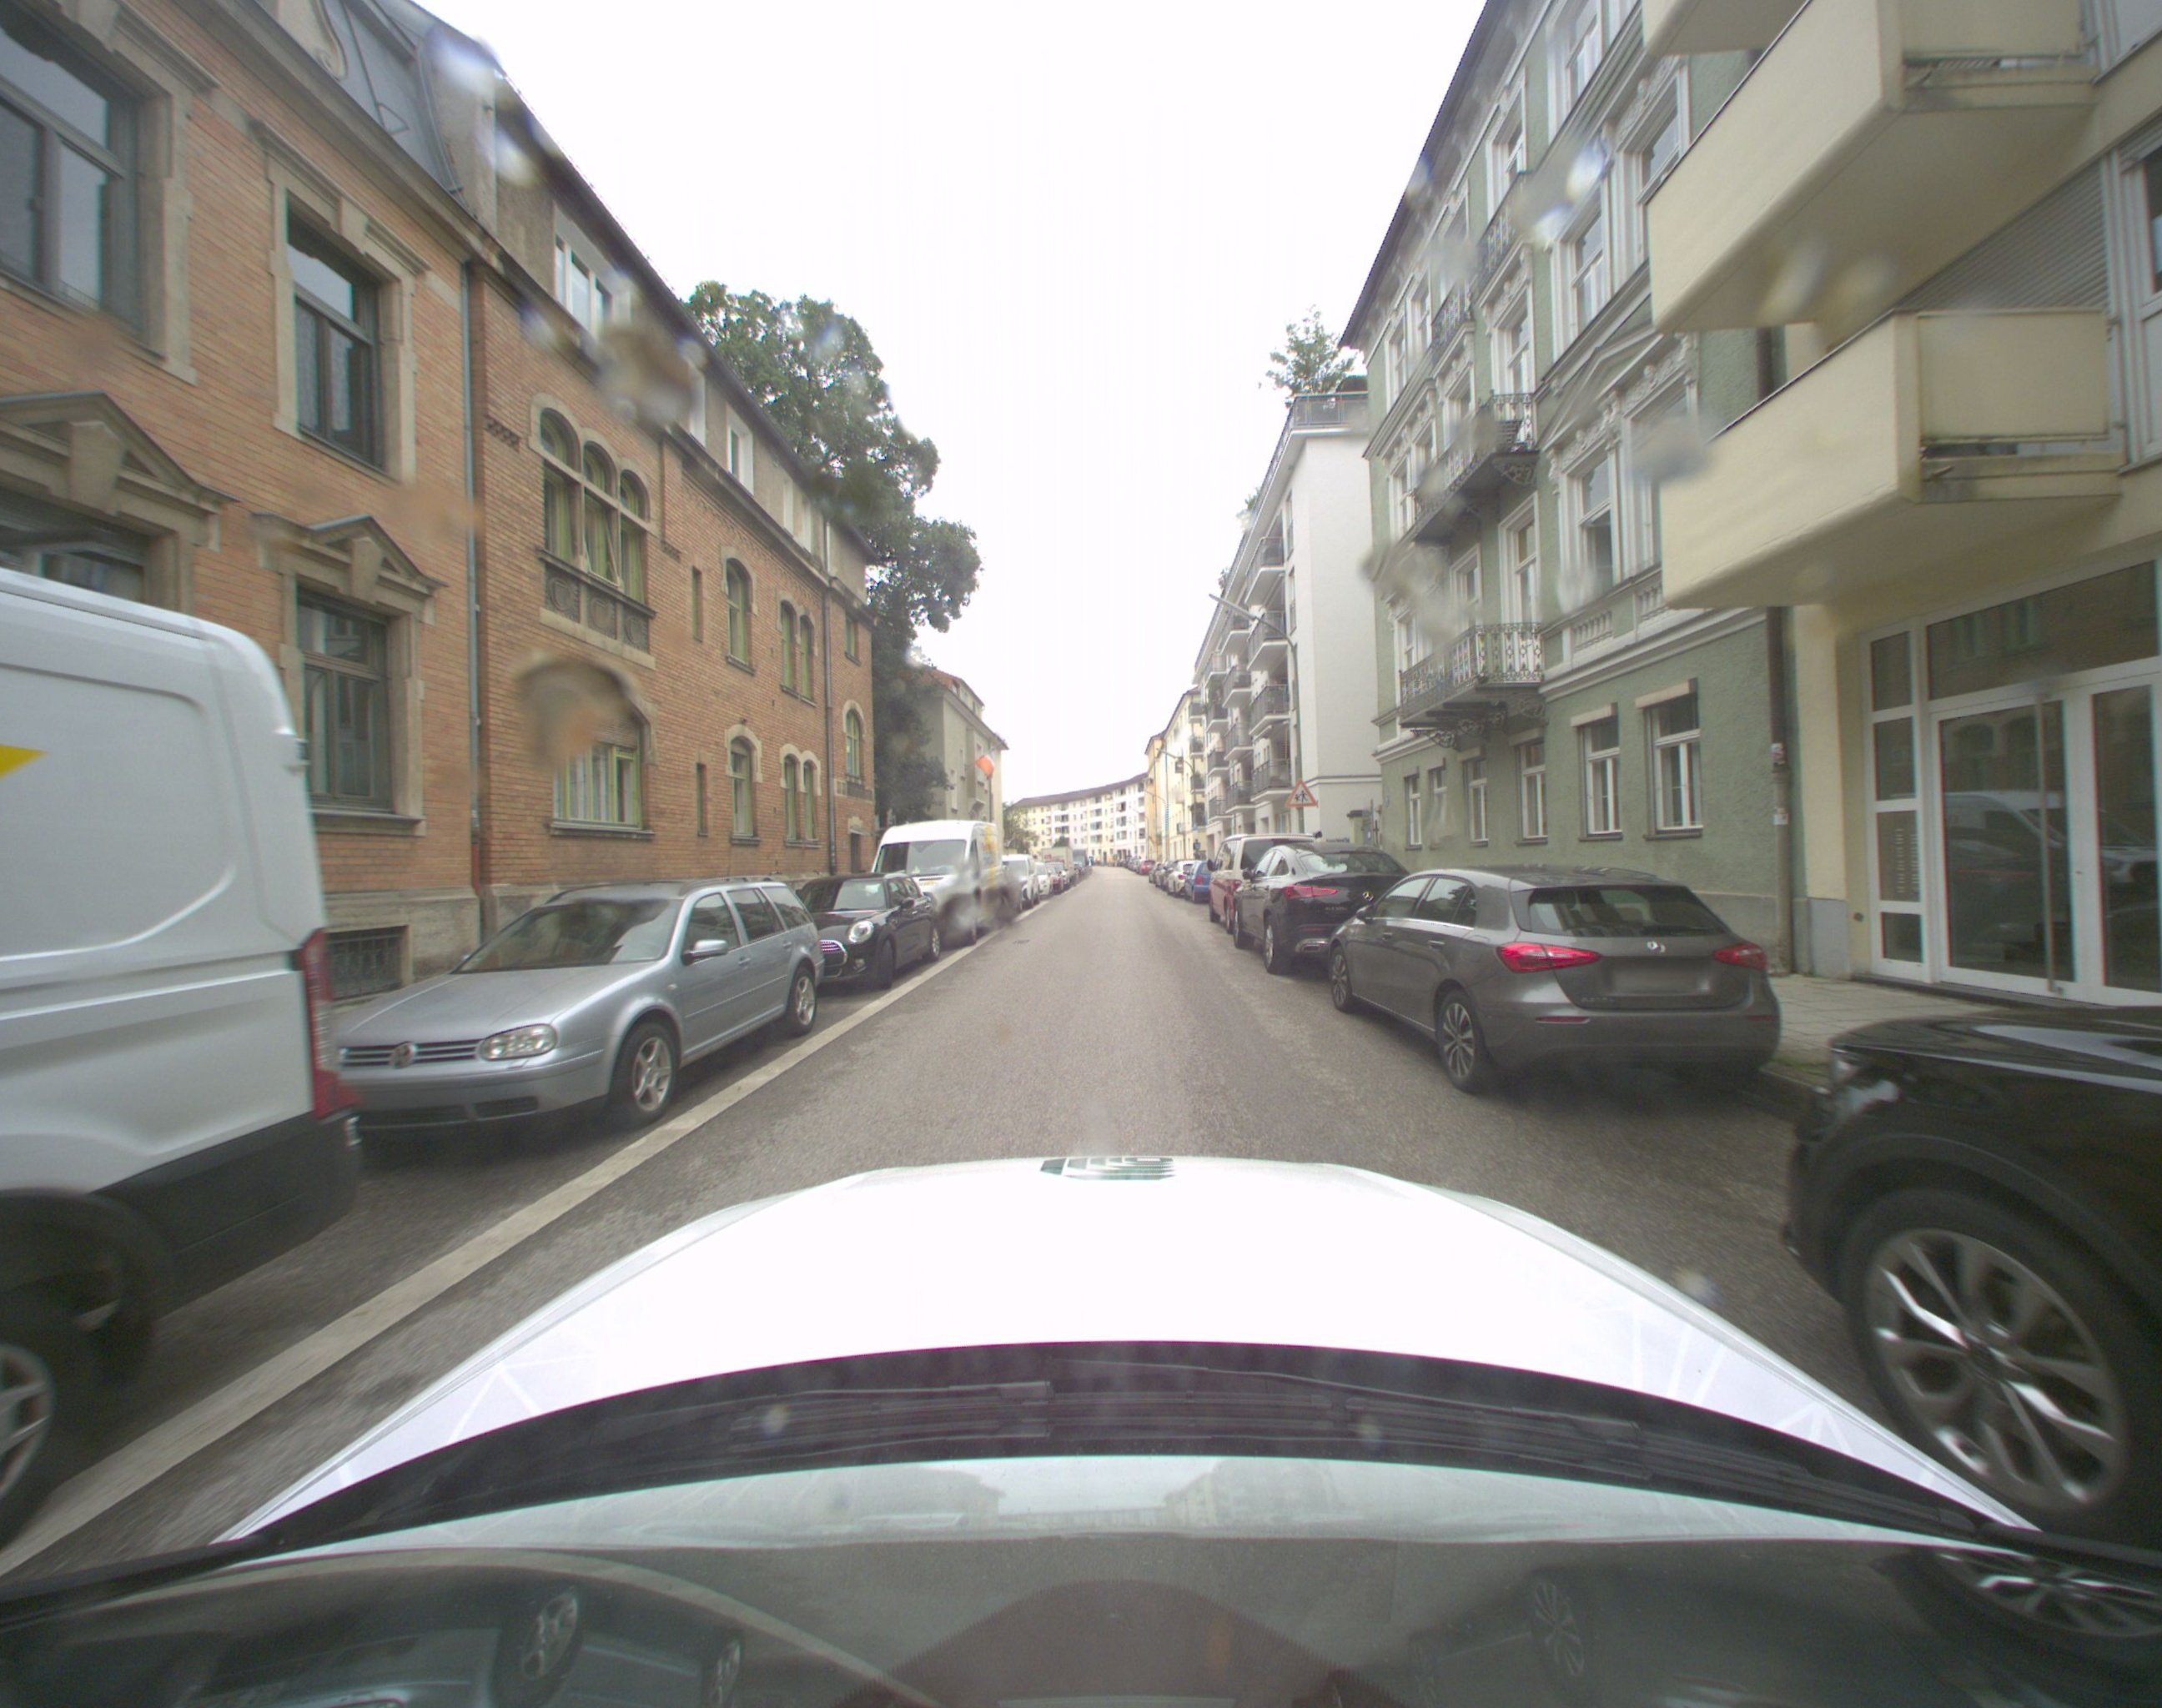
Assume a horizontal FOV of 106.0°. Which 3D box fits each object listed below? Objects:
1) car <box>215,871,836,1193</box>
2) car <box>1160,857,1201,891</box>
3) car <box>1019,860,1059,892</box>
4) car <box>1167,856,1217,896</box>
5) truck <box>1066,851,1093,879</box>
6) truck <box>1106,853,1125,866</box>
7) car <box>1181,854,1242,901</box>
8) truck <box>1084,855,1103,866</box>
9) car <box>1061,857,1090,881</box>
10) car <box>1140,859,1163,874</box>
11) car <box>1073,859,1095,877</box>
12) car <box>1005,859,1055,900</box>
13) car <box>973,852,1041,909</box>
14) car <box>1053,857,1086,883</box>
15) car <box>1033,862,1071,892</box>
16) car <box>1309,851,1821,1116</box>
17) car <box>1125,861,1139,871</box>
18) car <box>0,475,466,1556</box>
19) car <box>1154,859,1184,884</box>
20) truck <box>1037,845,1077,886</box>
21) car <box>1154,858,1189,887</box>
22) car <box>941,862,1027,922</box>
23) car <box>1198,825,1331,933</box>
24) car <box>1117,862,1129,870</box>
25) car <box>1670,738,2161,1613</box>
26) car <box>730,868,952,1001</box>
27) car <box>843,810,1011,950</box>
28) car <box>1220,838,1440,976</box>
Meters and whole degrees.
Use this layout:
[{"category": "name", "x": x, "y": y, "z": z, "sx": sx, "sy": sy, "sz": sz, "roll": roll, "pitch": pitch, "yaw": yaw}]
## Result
[{"category": "car", "x": -3.410, "y": 0.940, "z": 6.093, "sx": 1.682, "sy": 1.454, "sz": 3.999, "roll": -4, "pitch": -1, "yaw": 3}, {"category": "car", "x": 4.625, "y": 0.927, "z": 38.357, "sx": 1.642, "sy": 1.434, "sz": 4.004, "roll": -2, "pitch": -1, "yaw": 4}, {"category": "car", "x": -1.924, "y": 1.026, "z": 38.445, "sx": 1.746, "sy": 1.368, "sz": 3.997, "roll": -2, "pitch": -1, "yaw": -1}, {"category": "car", "x": 4.340, "y": 0.851, "z": 32.221, "sx": 1.642, "sy": 1.434, "sz": 4.004, "roll": -2, "pitch": -1, "yaw": 4}, {"category": "truck", "x": -0.120, "y": 0.963, "z": 72.144, "sx": 1.985, "sy": 2.319, "sz": 5.414, "roll": -2, "pitch": -1, "yaw": 3}, {"category": "truck", "x": 6.150, "y": 1.046, "z": 146.763, "sx": 2.227, "sy": 2.300, "sz": 5.269, "roll": -1, "pitch": 0, "yaw": -12}, {"category": "car", "x": 4.387, "y": 0.762, "z": 27.825, "sx": 1.602, "sy": 1.434, "sz": 3.621, "roll": -2, "pitch": -1, "yaw": 3}, {"category": "truck", "x": 2.602, "y": 1.361, "z": 168.074, "sx": 2.624, "sy": 2.300, "sz": 5.416, "roll": -1, "pitch": 0, "yaw": -13}, {"category": "car", "x": -0.407, "y": 1.198, "z": 65.554, "sx": 1.985, "sy": 1.762, "sz": 4.385, "roll": -2, "pitch": -1, "yaw": 3}, {"category": "car", "x": 6.739, "y": 1.187, "z": 78.086, "sx": 1.778, "sy": 1.385, "sz": 3.997, "roll": -2, "pitch": 0, "yaw": -1}, {"category": "car", "x": 0.335, "y": 1.427, "z": 83.662, "sx": 1.985, "sy": 1.762, "sz": 4.385, "roll": -2, "pitch": -1, "yaw": 3}, {"category": "car", "x": -2.053, "y": 1.032, "z": 33.807, "sx": 1.841, "sy": 1.540, "sz": 3.997, "roll": -2, "pitch": -1, "yaw": -1}, {"category": "car", "x": -2.394, "y": 0.847, "z": 27.139, "sx": 1.815, "sy": 1.711, "sz": 3.999, "roll": -2, "pitch": -1, "yaw": 0}, {"category": "car", "x": -0.807, "y": 1.120, "z": 58.971, "sx": 1.985, "sy": 1.762, "sz": 4.385, "roll": -2, "pitch": -1, "yaw": 3}, {"category": "car", "x": -1.549, "y": 1.212, "z": 44.191, "sx": 1.789, "sy": 1.469, "sz": 3.867, "roll": -2, "pitch": -1, "yaw": 1}, {"category": "car", "x": 3.293, "y": 0.738, "z": 6.718, "sx": 1.721, "sy": 1.459, "sz": 4.418, "roll": 0, "pitch": -1, "yaw": 2}, {"category": "car", "x": 7.582, "y": 1.777, "z": 121.936, "sx": 1.778, "sy": 1.385, "sz": 3.997, "roll": -2, "pitch": 0, "yaw": -1}, {"category": "car", "x": -3.545, "y": 0.379, "z": 0.425, "sx": 1.984, "sy": 2.468, "sz": 5.474, "roll": -4, "pitch": -1, "yaw": 3}, {"category": "car", "x": 5.389, "y": 1.067, "z": 50.327, "sx": 1.642, "sy": 1.434, "sz": 4.288, "roll": -2, "pitch": -1, "yaw": 4}, {"category": "truck", "x": -1.425, "y": 0.714, "z": 51.100, "sx": 1.985, "sy": 2.319, "sz": 5.414, "roll": -2, "pitch": -1, "yaw": 3}, {"category": "car", "x": 4.858, "y": 1.001, "z": 44.200, "sx": 1.642, "sy": 1.434, "sz": 4.004, "roll": -2, "pitch": -1, "yaw": 4}, {"category": "car", "x": -2.577, "y": 0.971, "z": 22.507, "sx": 1.737, "sy": 1.445, "sz": 4.001, "roll": -2, "pitch": -1, "yaw": 2}, {"category": "car", "x": 3.806, "y": 0.505, "z": 17.741, "sx": 1.863, "sy": 1.968, "sz": 4.818, "roll": -2, "pitch": -1, "yaw": 2}, {"category": "car", "x": 7.180, "y": 2.039, "z": 139.344, "sx": 1.778, "sy": 1.385, "sz": 3.997, "roll": -2, "pitch": 0, "yaw": -1}, {"category": "car", "x": 2.887, "y": 0.561, "z": 0.487, "sx": 1.843, "sy": 1.639, "sz": 4.552, "roll": -2, "pitch": -1, "yaw": 2}, {"category": "car", "x": -3.090, "y": 0.970, "z": 11.356, "sx": 1.691, "sy": 1.431, "sz": 3.833, "roll": -3, "pitch": -1, "yaw": 3}, {"category": "car", "x": -2.898, "y": 0.486, "z": 16.774, "sx": 2.128, "sy": 2.349, "sz": 5.373, "roll": -2, "pitch": -1, "yaw": 3}, {"category": "car", "x": 3.329, "y": 0.657, "z": 11.947, "sx": 1.852, "sy": 1.551, "sz": 4.755, "roll": -2, "pitch": -1, "yaw": 2}]
